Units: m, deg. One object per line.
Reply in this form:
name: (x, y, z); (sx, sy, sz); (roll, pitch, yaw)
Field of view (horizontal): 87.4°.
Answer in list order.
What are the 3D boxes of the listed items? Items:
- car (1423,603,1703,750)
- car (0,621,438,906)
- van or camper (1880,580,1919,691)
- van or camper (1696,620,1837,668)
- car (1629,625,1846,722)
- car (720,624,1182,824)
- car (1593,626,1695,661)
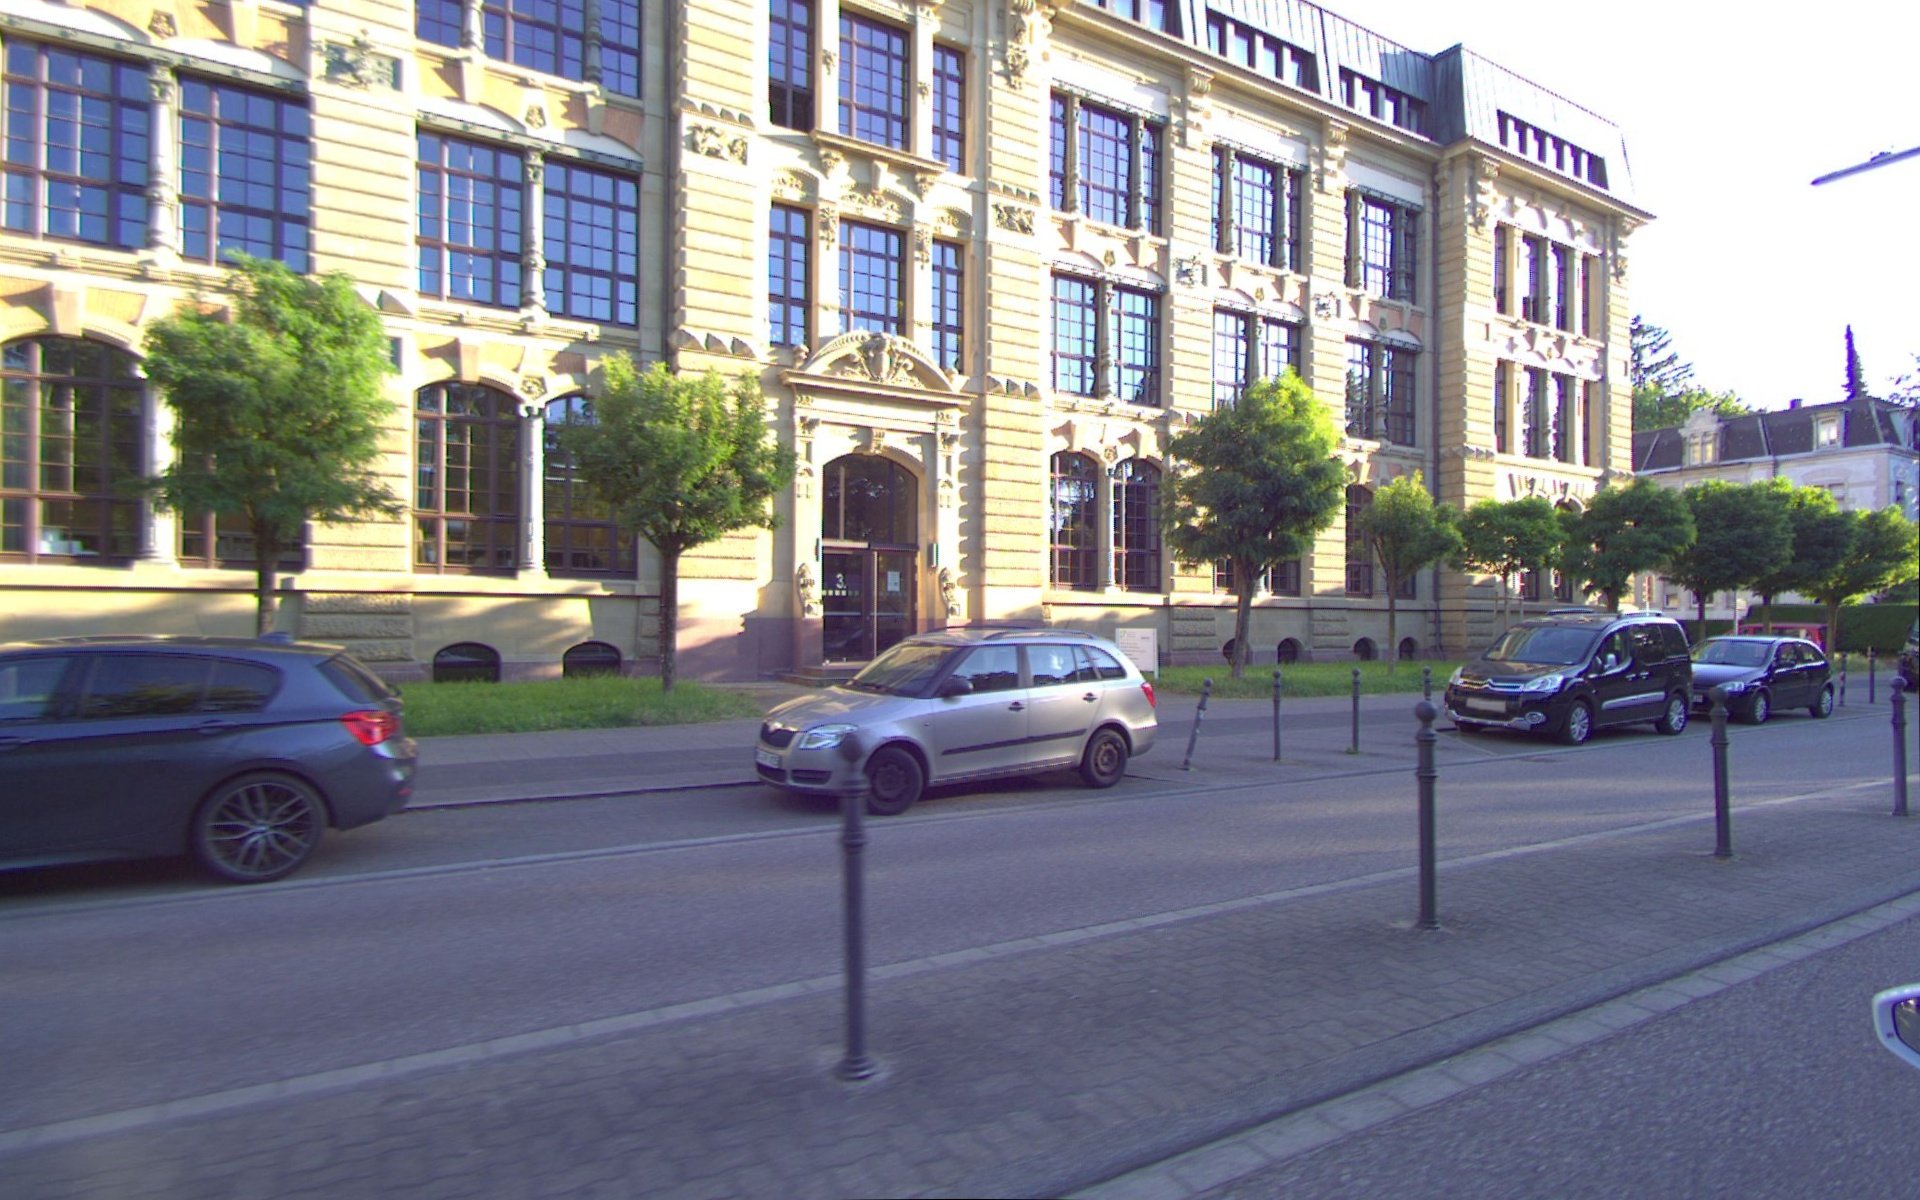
car: (9.116, 1.049, 15.114); (4.282, 1.891, 1.768); (1, 1, -31)
car: (-5.636, 0.895, 6.058); (4.327, 1.516, 1.609); (1, -1, -31)
van or camper: (25.589, 0.917, 24.909); (7.000, 2.578, 2.218); (2, 0, -32)
van or camper: (37.999, 2.004, 47.462); (1.975, 2.012, 4.750); (-4, 1, -28)
car: (13.891, 1.247, 17.919); (3.808, 1.490, 1.689); (1, 1, -29)
car: (0.060, 1.018, 9.755); (4.337, 1.516, 1.706); (1, -1, -37)
car: (35.121, 2.220, 51.661); (1.899, 1.695, 3.965); (1, -1, -32)
